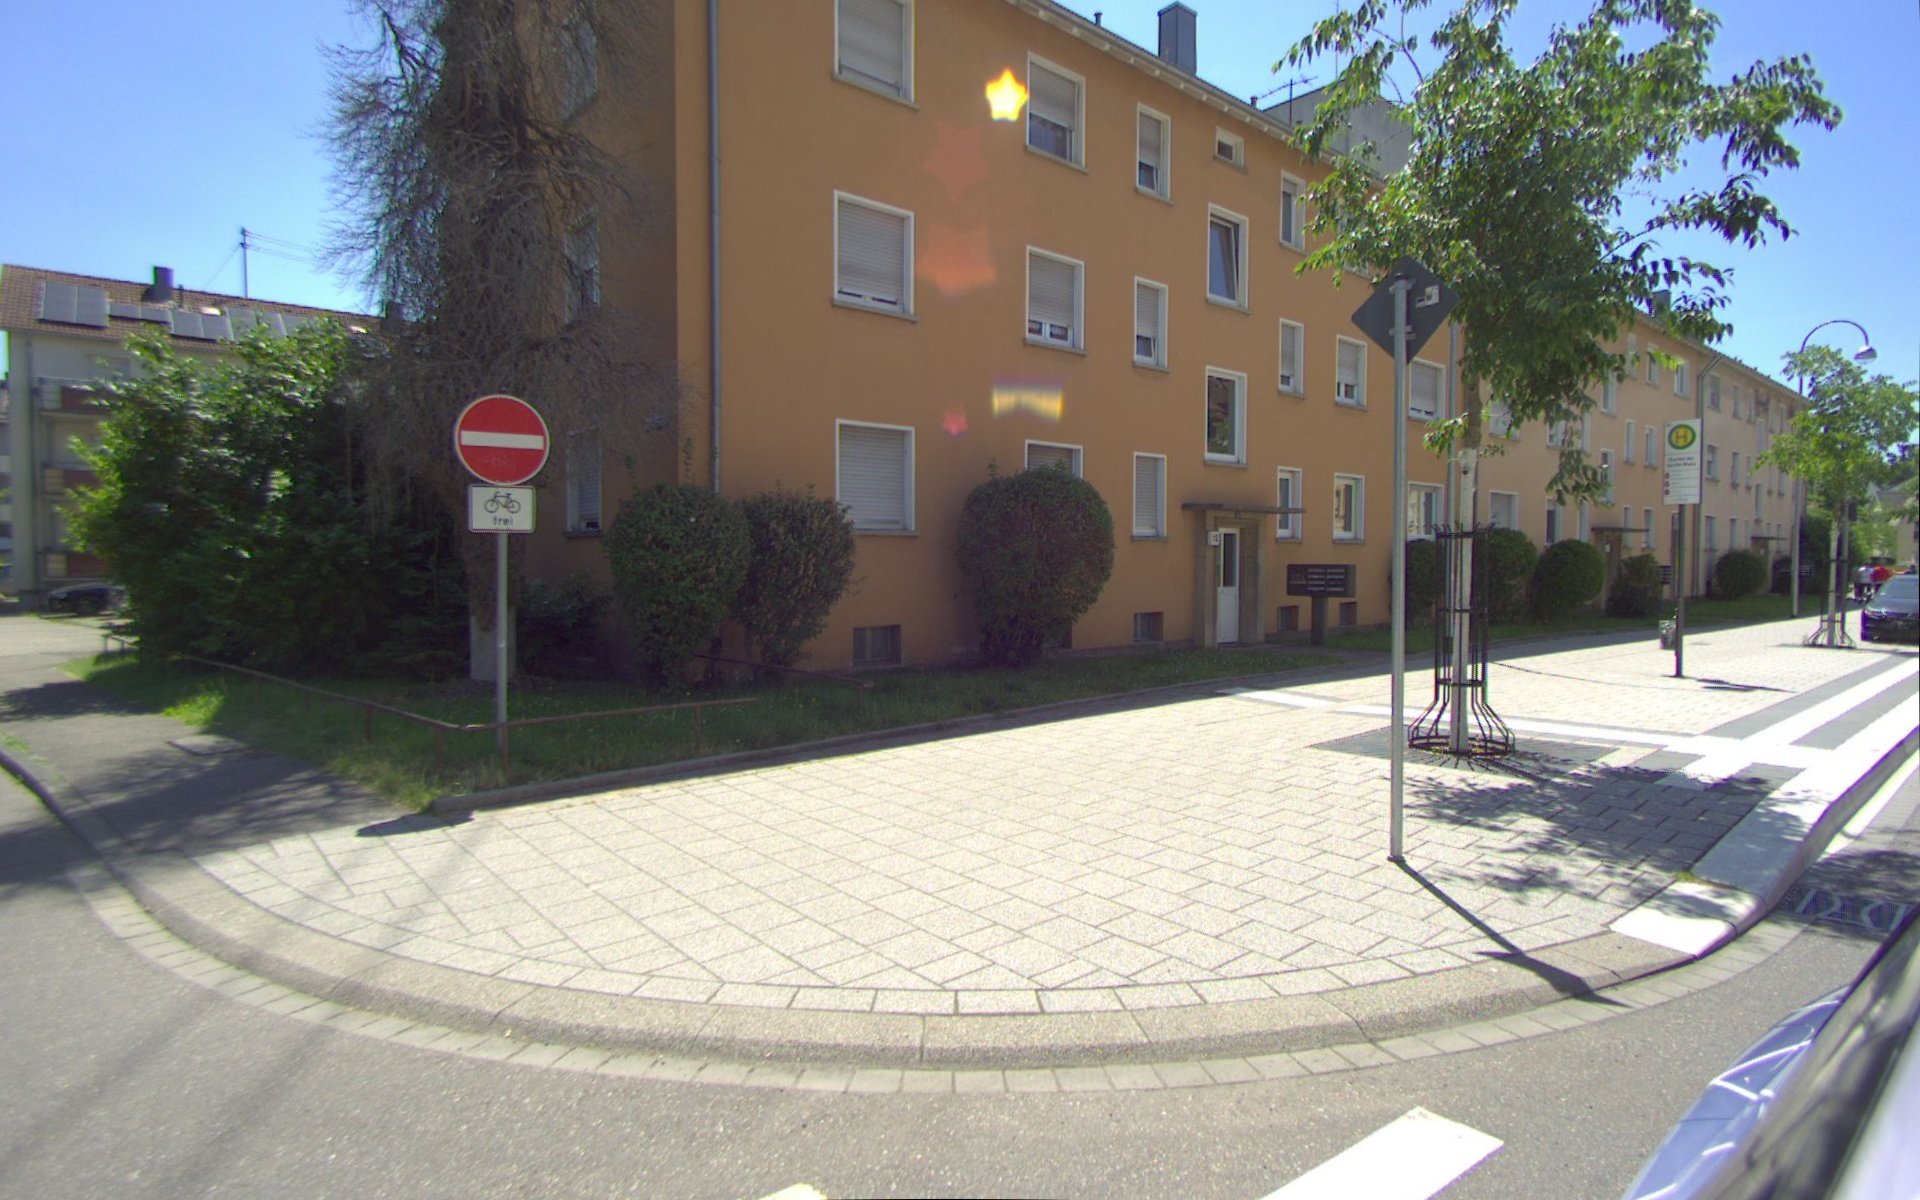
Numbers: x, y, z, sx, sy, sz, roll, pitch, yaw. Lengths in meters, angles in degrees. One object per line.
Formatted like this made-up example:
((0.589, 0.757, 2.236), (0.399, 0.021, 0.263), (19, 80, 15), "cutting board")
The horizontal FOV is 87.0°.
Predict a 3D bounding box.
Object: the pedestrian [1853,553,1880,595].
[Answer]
((39.499, -1.158, 44.096), (0.992, 1.800, 0.794), (-2, 3, -45), "pedestrian")

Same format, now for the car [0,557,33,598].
((-44.278, -1.001, 45.377), (3.935, 1.805, 1.995), (-2, 3, -44), "car")

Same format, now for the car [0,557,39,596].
((-42.695, -1.028, 43.921), (3.935, 1.705, 1.995), (-2, 3, -44), "car")

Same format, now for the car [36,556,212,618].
((-24.931, -0.446, 30.252), (3.934, 1.712, 1.968), (-2, 3, -43), "car")

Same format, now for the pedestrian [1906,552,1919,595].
((40.739, -1.099, 42.610), (1.172, 1.753, 1.173), (6, 6, 44), "pedestrian")

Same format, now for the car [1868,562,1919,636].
((22.128, -0.063, 22.843), (4.977, 1.522, 1.837), (-2, 5, -42), "car")

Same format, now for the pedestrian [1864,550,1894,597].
((37.264, -1.101, 41.034), (0.968, 1.876, 0.821), (-1, 2, -45), "pedestrian")

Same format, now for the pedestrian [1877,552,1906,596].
((39.722, -1.129, 43.155), (0.990, 1.832, 0.788), (-2, 5, -45), "pedestrian")

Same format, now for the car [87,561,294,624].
((-19.192, -0.246, 25.377), (1.611, 1.438, 3.867), (2, 3, 38), "car")
